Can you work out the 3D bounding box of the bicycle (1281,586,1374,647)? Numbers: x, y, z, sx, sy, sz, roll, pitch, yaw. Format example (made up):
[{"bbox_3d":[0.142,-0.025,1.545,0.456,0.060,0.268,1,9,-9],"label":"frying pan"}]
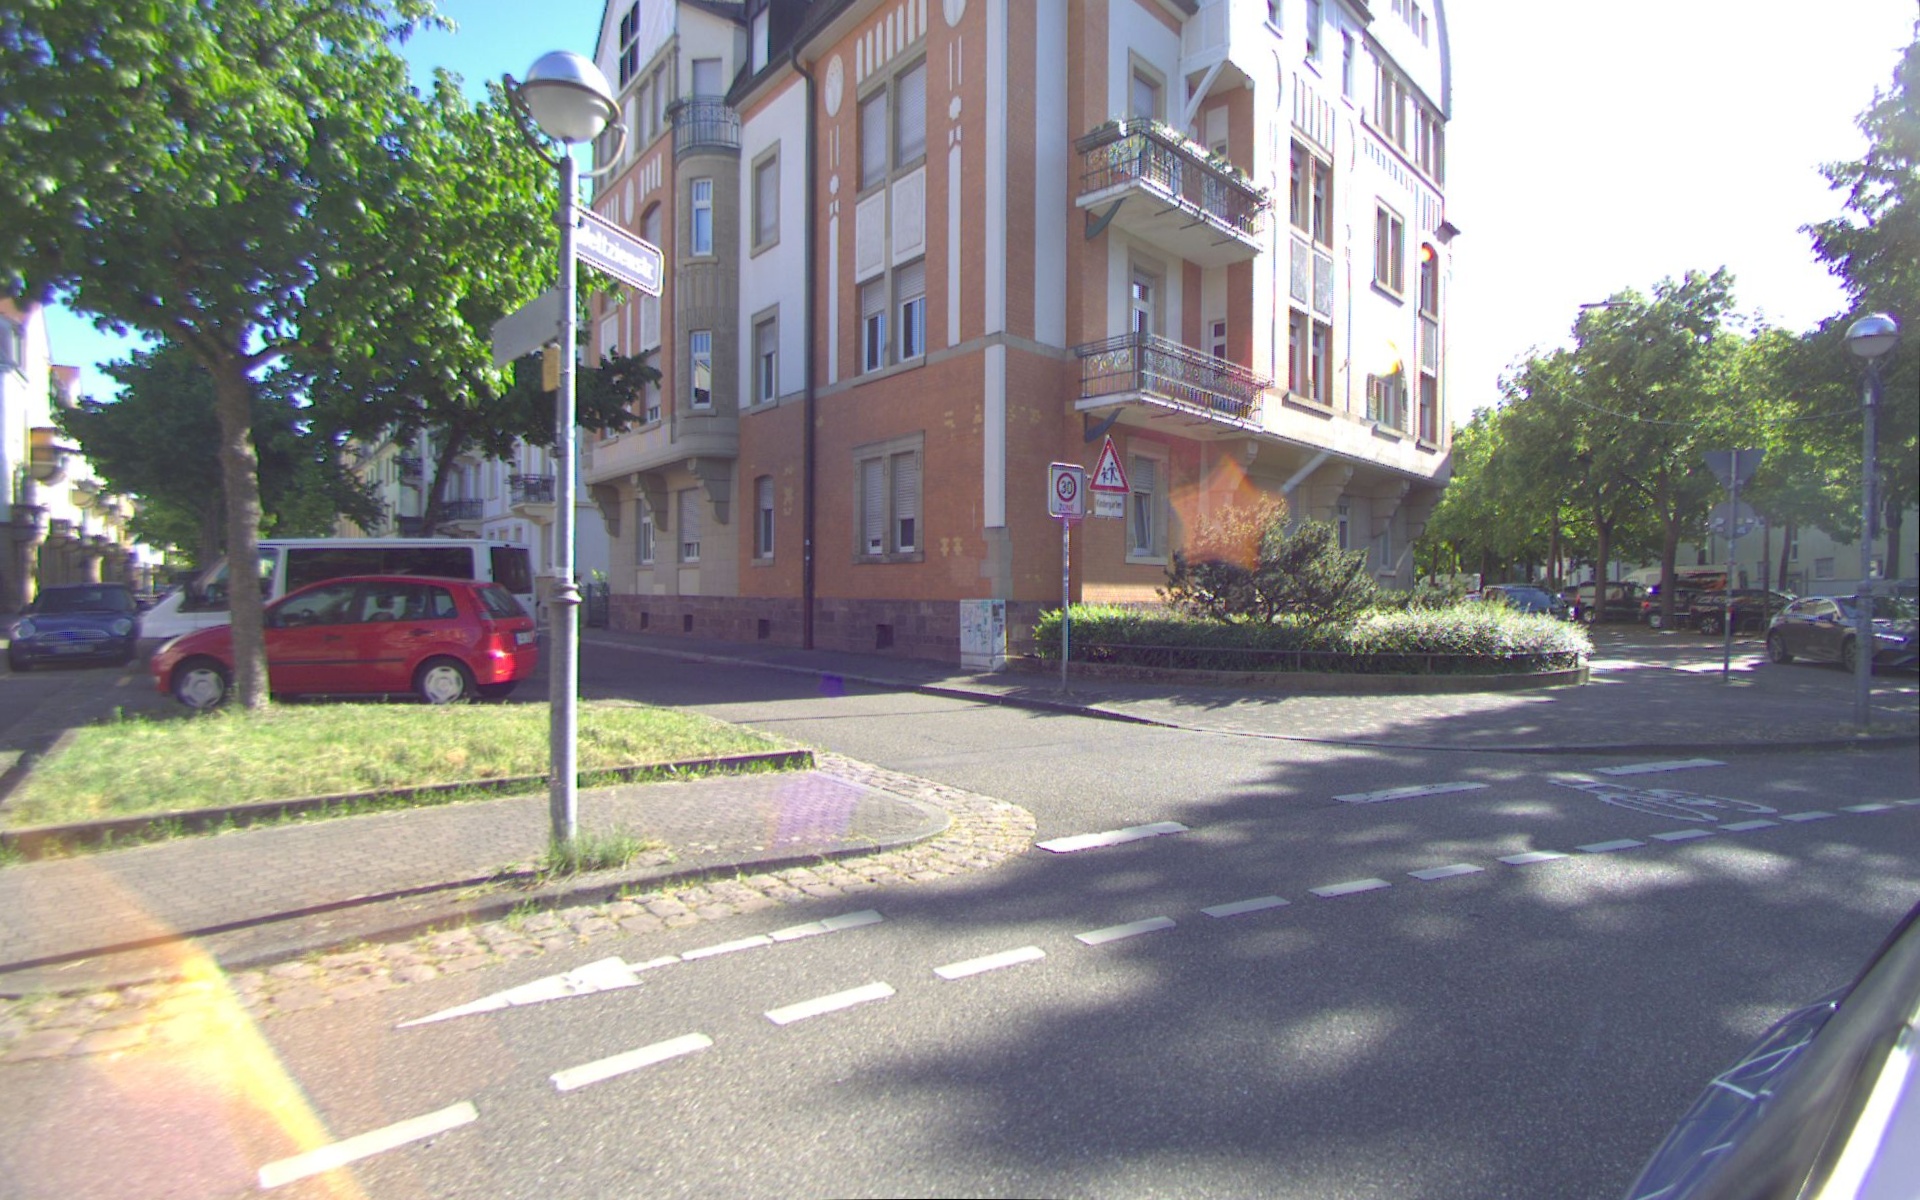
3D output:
[{"bbox_3d":[7.885,0.327,21.754,1.791,1.227,0.587,2,1,39],"label":"bicycle"}]

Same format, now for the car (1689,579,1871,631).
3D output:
[{"bbox_3d":[24.902,0.114,30.848,1.789,1.459,3.999,0,1,-36],"label":"car"}]

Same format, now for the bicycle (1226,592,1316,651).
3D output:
[{"bbox_3d":[6.143,0.402,20.045,1.669,1.085,0.492,2,1,44],"label":"bicycle"}]

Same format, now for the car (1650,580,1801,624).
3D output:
[{"bbox_3d":[27.326,0.043,36.244,1.789,1.471,3.999,0,1,-36],"label":"car"}]

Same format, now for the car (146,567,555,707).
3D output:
[{"bbox_3d":[-6.739,0.381,11.523,3.622,1.453,1.671,0,1,-5],"label":"car"}]

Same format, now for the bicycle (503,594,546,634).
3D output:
[{"bbox_3d":[-12.856,0.386,29.829,0.686,1.121,1.871,0,0,-39],"label":"bicycle"}]

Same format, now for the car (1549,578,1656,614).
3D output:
[{"bbox_3d":[30.863,-0.195,48.684,1.789,1.654,3.999,0,1,-36],"label":"car"}]

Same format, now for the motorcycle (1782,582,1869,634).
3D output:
[{"bbox_3d":[23.493,0.210,27.483,1.765,1.365,0.728,0,0,-3],"label":"motorcycle"}]

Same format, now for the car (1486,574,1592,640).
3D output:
[{"bbox_3d":[17.426,0.193,30.659,1.773,1.789,4.187,-2,0,16],"label":"car"}]

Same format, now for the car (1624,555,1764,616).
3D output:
[{"bbox_3d":[31.747,-0.638,43.881,1.952,2.522,4.587,0,1,-41],"label":"car"}]

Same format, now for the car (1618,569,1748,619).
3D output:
[{"bbox_3d":[29.480,-0.252,41.365,1.789,1.922,3.999,0,1,-36],"label":"car"}]

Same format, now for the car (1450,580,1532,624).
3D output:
[{"bbox_3d":[19.156,0.061,36.666,1.773,1.472,4.187,-2,0,16],"label":"car"}]

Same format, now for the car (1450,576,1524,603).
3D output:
[{"bbox_3d":[34.179,-0.682,65.643,3.982,1.708,1.797,1,1,40],"label":"car"}]

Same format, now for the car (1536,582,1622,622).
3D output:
[{"bbox_3d":[23.824,0.075,39.082,1.773,1.453,4.187,-1,0,16],"label":"car"}]

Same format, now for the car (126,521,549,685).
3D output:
[{"bbox_3d":[-8.397,0.030,14.028,4.613,2.071,1.995,0,0,-3],"label":"car"}]

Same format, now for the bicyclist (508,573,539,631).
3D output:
[{"bbox_3d":[-12.904,0.065,29.884,0.686,1.682,0.649,0,0,-40],"label":"bicyclist"}]

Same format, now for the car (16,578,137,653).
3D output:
[{"bbox_3d":[-18.566,0.263,21.405,1.584,1.440,3.613,-1,1,-36],"label":"car"}]

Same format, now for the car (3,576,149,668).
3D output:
[{"bbox_3d":[-15.353,0.308,17.744,1.584,1.440,3.613,-1,1,-36],"label":"car"}]

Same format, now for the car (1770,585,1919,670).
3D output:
[{"bbox_3d":[17.386,0.450,19.100,1.773,1.453,4.187,-1,0,17],"label":"car"}]
